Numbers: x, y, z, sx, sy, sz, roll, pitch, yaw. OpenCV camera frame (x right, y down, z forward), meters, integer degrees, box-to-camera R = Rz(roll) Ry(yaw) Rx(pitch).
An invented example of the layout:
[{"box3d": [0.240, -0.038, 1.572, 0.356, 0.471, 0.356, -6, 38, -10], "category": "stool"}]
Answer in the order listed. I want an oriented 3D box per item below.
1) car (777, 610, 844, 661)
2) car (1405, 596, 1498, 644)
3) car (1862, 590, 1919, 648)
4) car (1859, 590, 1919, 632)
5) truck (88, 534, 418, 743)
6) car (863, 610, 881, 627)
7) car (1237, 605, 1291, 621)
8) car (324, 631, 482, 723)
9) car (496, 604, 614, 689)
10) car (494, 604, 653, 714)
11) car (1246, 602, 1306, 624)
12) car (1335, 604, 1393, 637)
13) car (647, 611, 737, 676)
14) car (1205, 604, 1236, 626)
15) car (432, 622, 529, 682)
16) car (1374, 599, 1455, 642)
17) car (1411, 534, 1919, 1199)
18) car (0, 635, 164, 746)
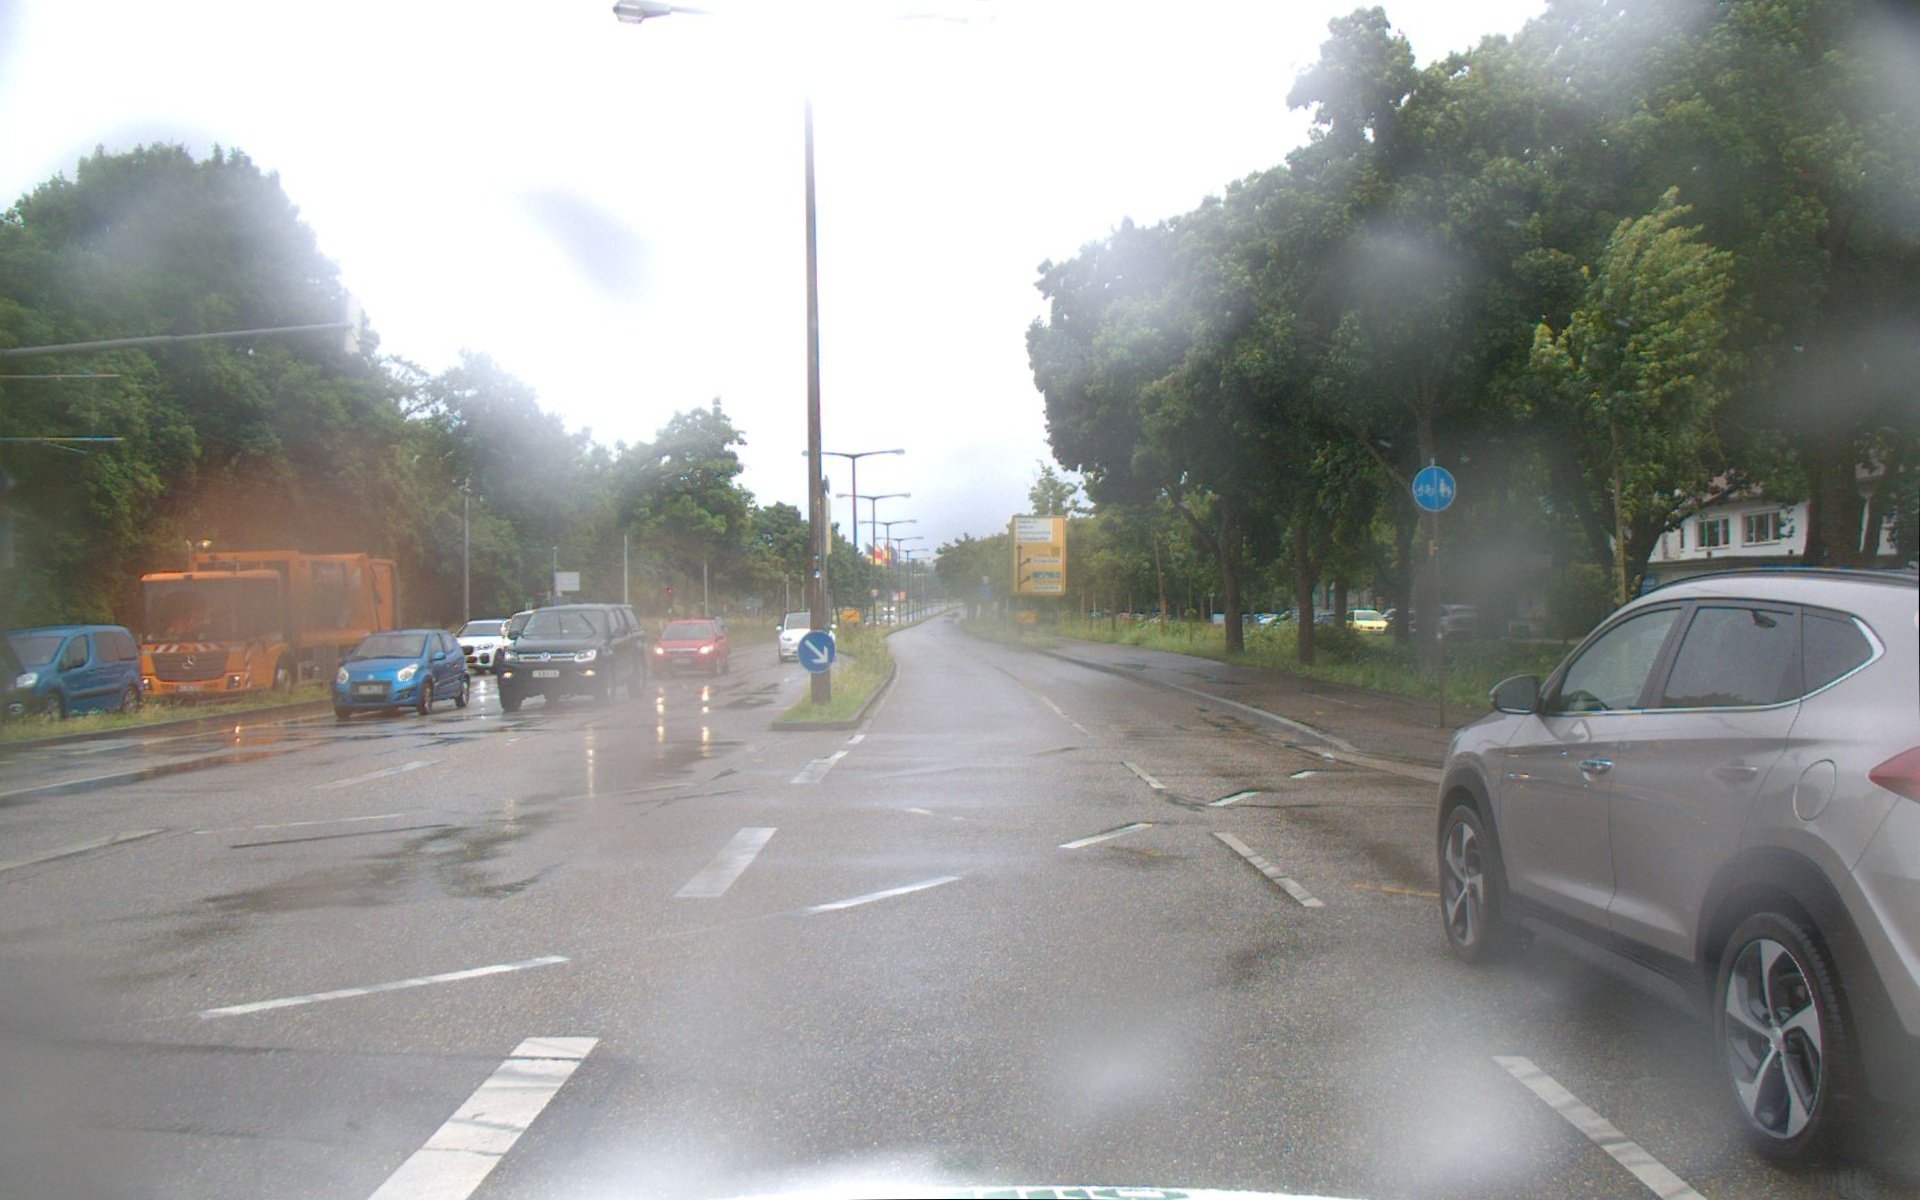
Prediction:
[{"box3d": [-5.121, 1.208, 57.311, 1.921, 1.645, 4.696, -1, 0, -1], "category": "car"}, {"box3d": [19.215, 0.786, 64.866, 1.954, 1.747, 4.876, -1, -1, -3], "category": "car"}, {"box3d": [25.166, 0.531, 43.859, 1.637, 1.474, 3.735, 0, -1, 38], "category": "car"}, {"box3d": [31.698, 0.377, 54.906, 1.541, 1.339, 3.699, 1, -1, -3], "category": "car"}, {"box3d": [-16.247, 0.878, 39.233, 3.316, 4.241, 10.404, 1, -1, -1], "category": "truck"}, {"box3d": [-9.299, 1.976, 174.584, 1.708, 1.679, 4.134, -3, 0, -2], "category": "car"}, {"box3d": [26.639, 1.136, 144.989, 4.313, 1.357, 1.835, 1, -1, -6], "category": "car"}, {"box3d": [-9.954, 1.332, 29.837, 1.608, 1.452, 3.997, -3, -1, -3], "category": "car"}, {"box3d": [-10.373, 1.143, 42.748, 1.890, 2.053, 4.742, -1, 0, 0], "category": "car"}, {"box3d": [-7.047, 1.014, 30.692, 1.769, 1.804, 5.088, -2, 0, -1], "category": "car"}, {"box3d": [26.008, 1.056, 136.208, 4.482, 1.674, 1.997, 1, -1, -6], "category": "car"}, {"box3d": [19.090, 0.987, 78.324, 1.604, 1.512, 4.070, 1, -1, -3], "category": "car"}, {"box3d": [-7.186, 1.178, 44.715, 1.764, 1.597, 4.427, -2, -1, -1], "category": "car"}, {"box3d": [19.153, 1.121, 121.729, 1.708, 1.470, 4.123, -1, 1, 2], "category": "car"}, {"box3d": [-15.836, 1.685, 54.917, 1.953, 1.859, 4.769, 1, -1, -2], "category": "car"}, {"box3d": [19.313, 0.873, 70.501, 1.954, 1.747, 4.639, -1, -1, -3], "category": "car"}, {"box3d": [3.086, 0.711, 5.729, 1.846, 1.639, 4.195, 1, -1, -1], "category": "car"}, {"box3d": [-16.049, 1.511, 28.964, 1.952, 1.739, 4.526, 1, -1, 0], "category": "car"}]
